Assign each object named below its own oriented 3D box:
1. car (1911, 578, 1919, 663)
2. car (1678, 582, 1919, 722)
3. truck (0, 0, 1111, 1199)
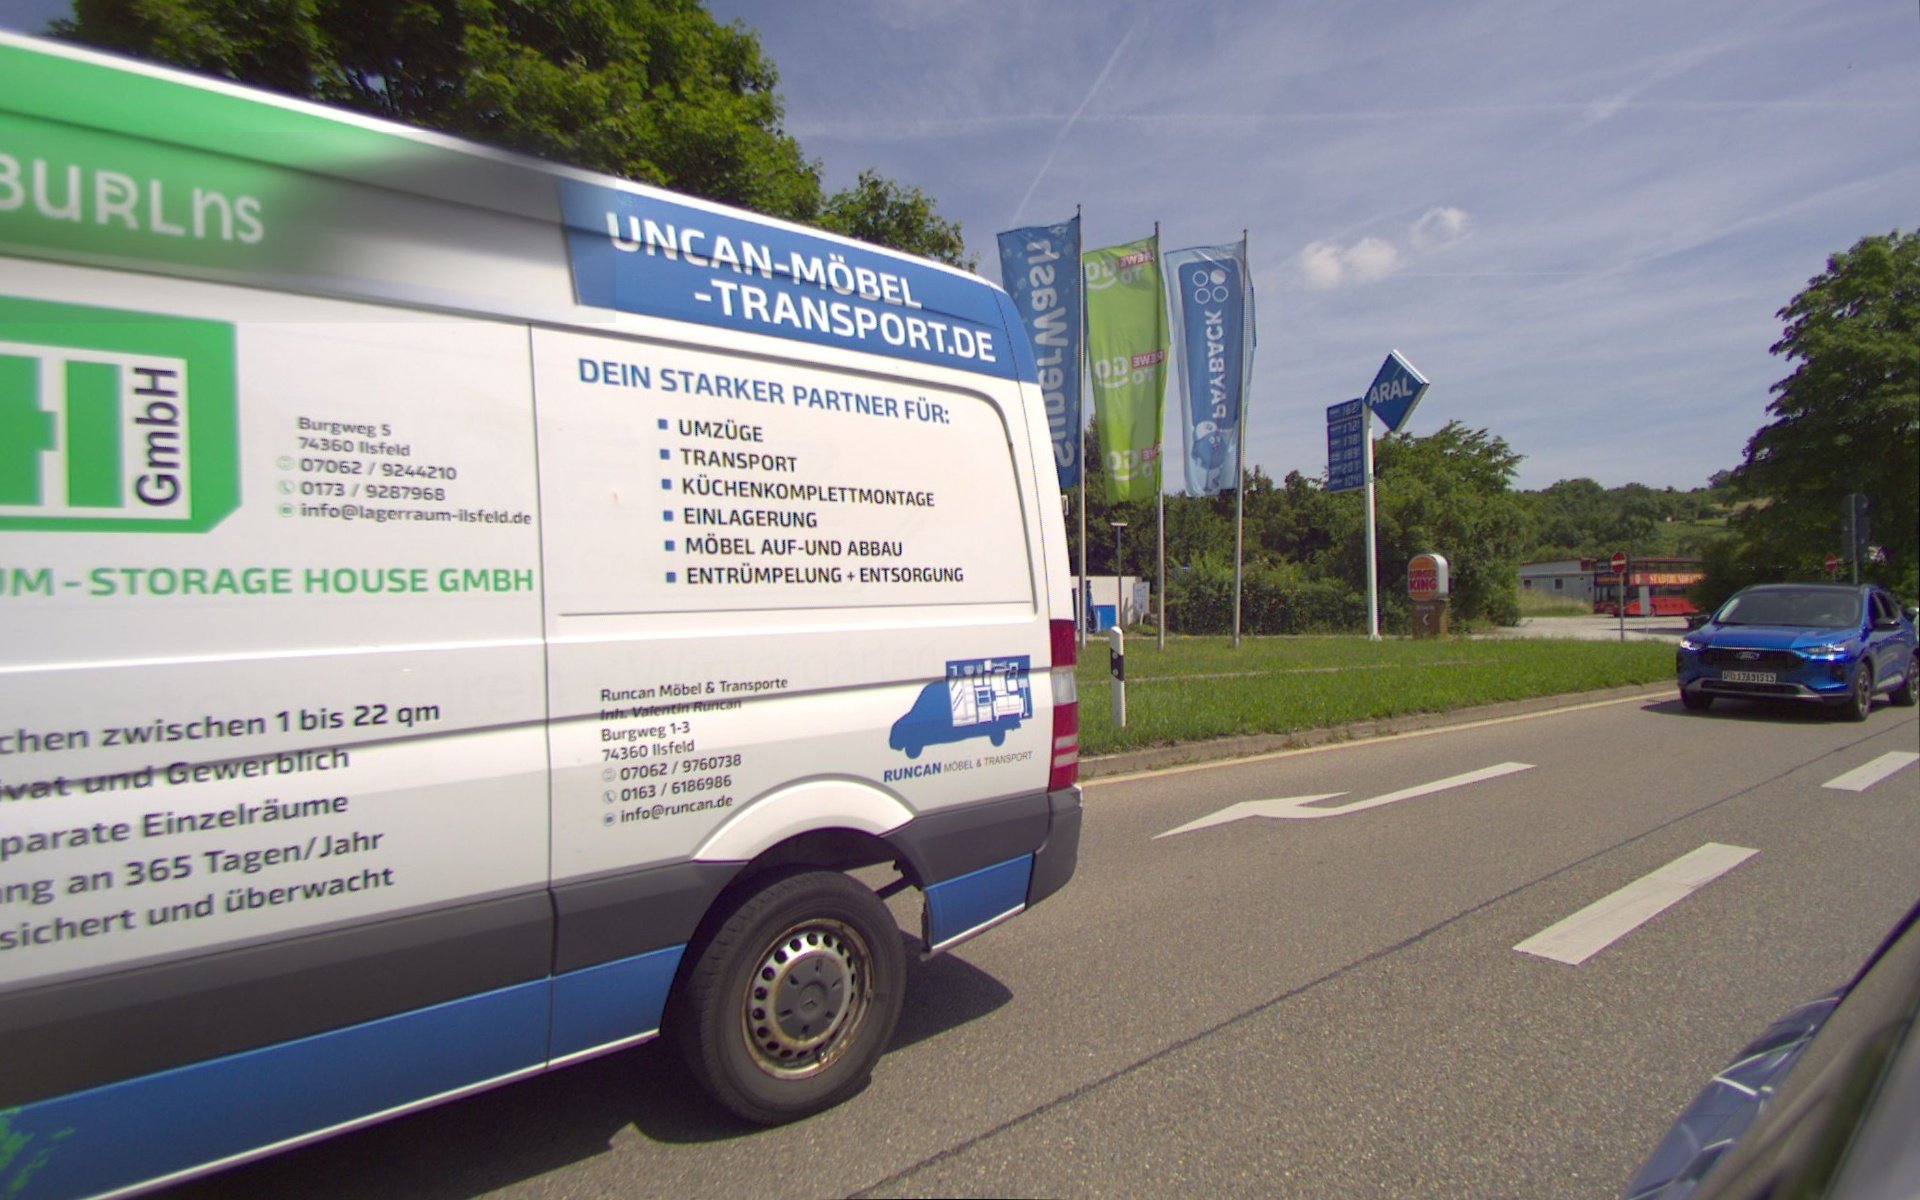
[{"bbox_3d":[21.579,0.377,20.984,4.441,1.713,1.867,-1,1,-35],"label":"car"},{"bbox_3d":[11.356,0.576,13.416,4.307,1.578,1.783,0,0,-37],"label":"car"},{"bbox_3d":[-2.403,-0.015,2.500,5.835,2.771,2.071,-1,0,-38],"label":"truck"}]
